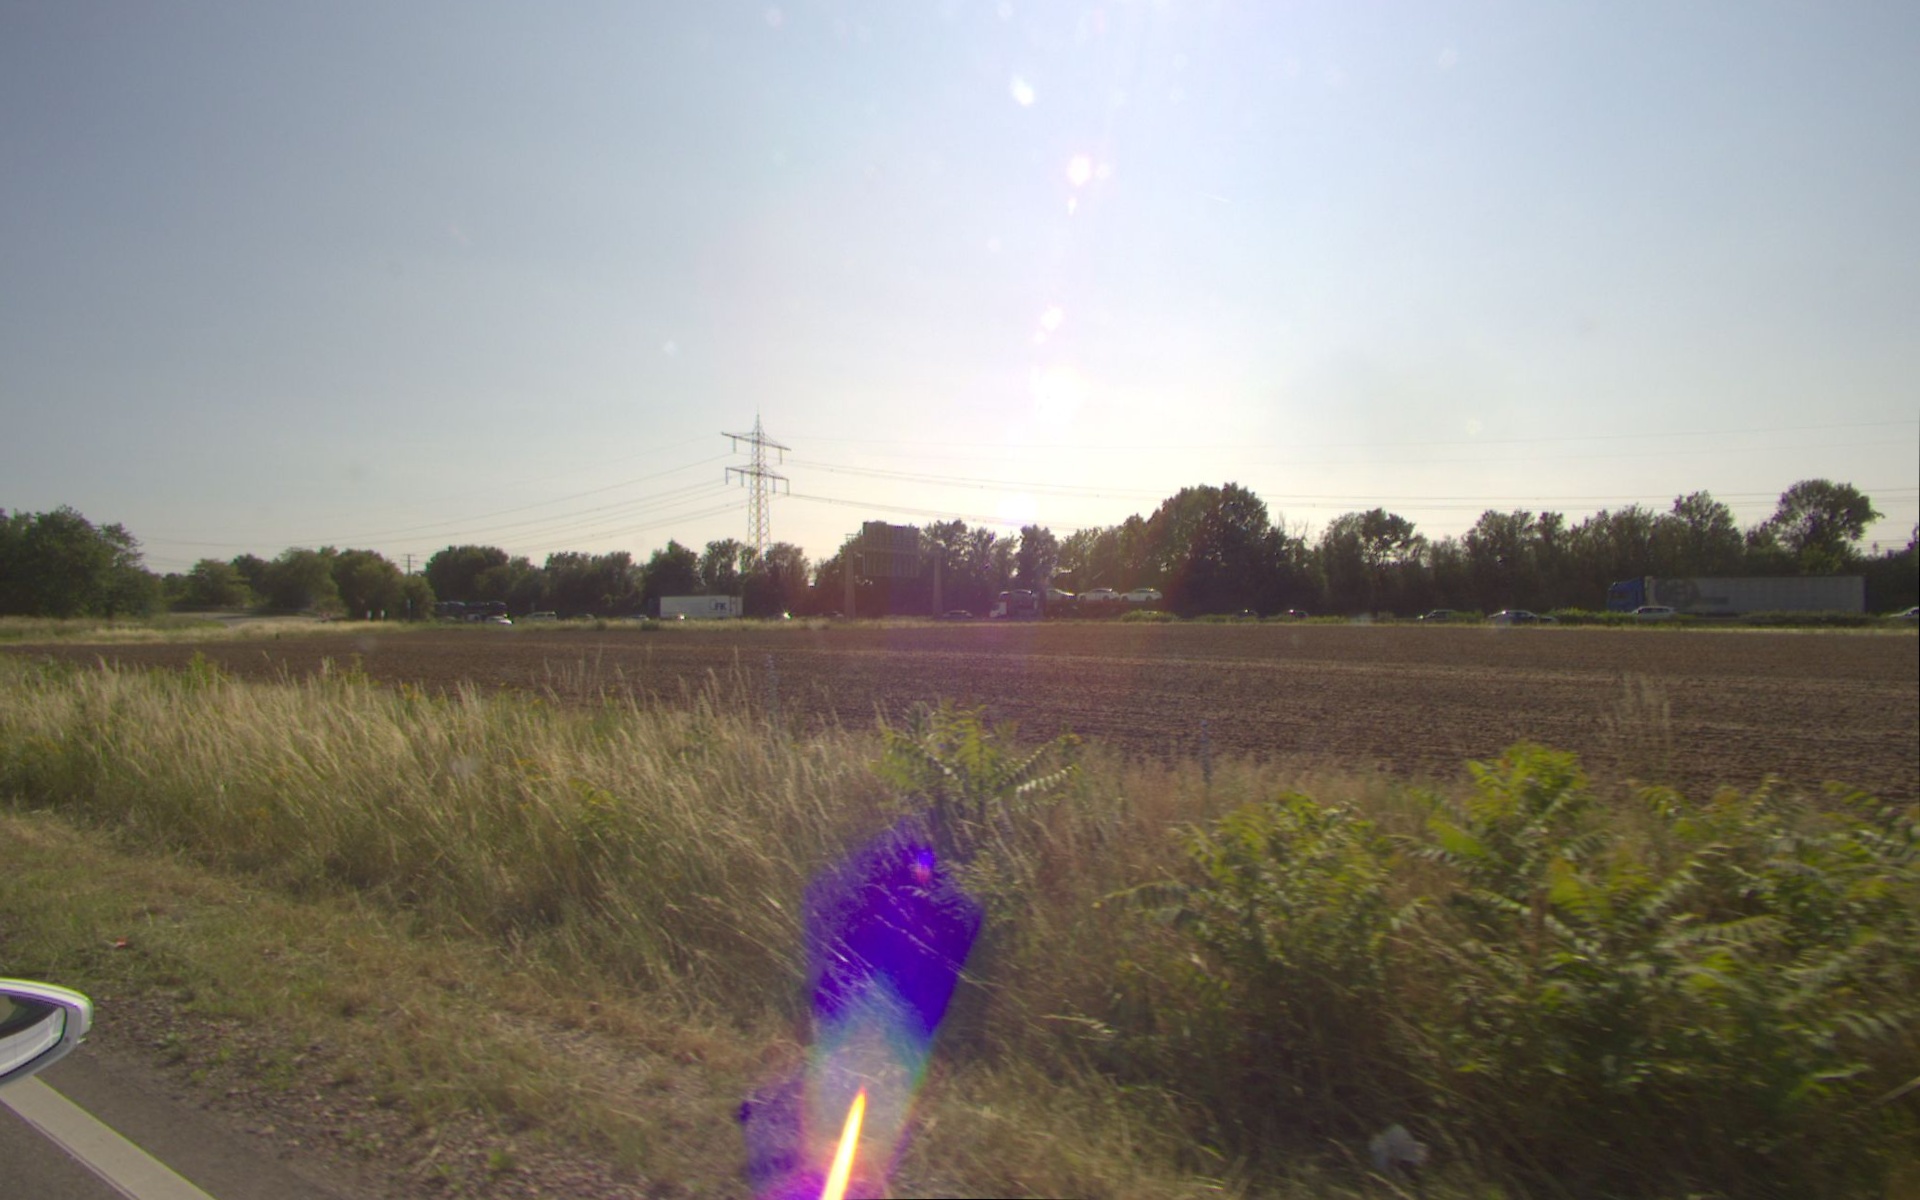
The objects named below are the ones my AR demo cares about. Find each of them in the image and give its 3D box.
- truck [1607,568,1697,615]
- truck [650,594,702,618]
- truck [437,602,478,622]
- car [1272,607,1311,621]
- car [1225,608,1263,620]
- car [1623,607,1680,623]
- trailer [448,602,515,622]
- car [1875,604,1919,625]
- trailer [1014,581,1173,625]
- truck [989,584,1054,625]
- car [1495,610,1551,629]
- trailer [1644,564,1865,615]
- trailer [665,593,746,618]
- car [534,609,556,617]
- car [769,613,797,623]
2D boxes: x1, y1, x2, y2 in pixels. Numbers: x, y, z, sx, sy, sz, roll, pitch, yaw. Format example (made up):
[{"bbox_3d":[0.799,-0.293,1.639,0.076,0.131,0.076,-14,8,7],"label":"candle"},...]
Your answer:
[{"bbox_3d":[57.265,-0.641,83.017,6.002,3.782,3.065,0,0,33],"label":"truck"},{"bbox_3d":[-40.683,0.820,143.390,6.876,3.310,3.279,-1,0,31],"label":"truck"},{"bbox_3d":[-84.986,1.969,169.285,6.333,3.310,3.279,0,0,31],"label":"truck"},{"bbox_3d":[30.141,1.270,91.158,3.135,1.166,1.392,0,-1,32],"label":"car"},{"bbox_3d":[28.648,1.420,101.018,3.527,1.166,1.393,0,-1,30],"label":"car"},{"bbox_3d":[53.231,1.127,77.100,3.530,1.166,1.392,0,-1,33],"label":"car"},{"bbox_3d":[-79.223,1.971,165.799,13.254,3.310,3.279,0,0,31],"label":"trailer"},{"bbox_3d":[66.263,0.996,69.677,3.550,1.403,1.489,0,-1,32],"label":"car"},{"bbox_3d":[14.391,0.402,109.421,17.302,4.512,3.416,-1,0,30],"label":"trailer"},{"bbox_3d":[7.000,0.502,113.728,6.606,4.512,3.416,-1,0,30],"label":"truck"},{"bbox_3d":[41.834,1.438,74.371,3.566,1.250,1.544,0,-3,32],"label":"car"},{"bbox_3d":[62.546,-0.704,79.516,13.439,3.782,3.065,0,-1,34],"label":"trailer"},{"bbox_3d":[-35.730,0.754,140.419,12.273,3.310,3.279,-1,0,31],"label":"trailer"},{"bbox_3d":[-60.865,1.906,146.831,3.135,1.166,1.392,0,-1,32],"label":"car"},{"bbox_3d":[-23.230,2.362,131.619,3.527,1.166,1.393,0,-1,30],"label":"car"}]
